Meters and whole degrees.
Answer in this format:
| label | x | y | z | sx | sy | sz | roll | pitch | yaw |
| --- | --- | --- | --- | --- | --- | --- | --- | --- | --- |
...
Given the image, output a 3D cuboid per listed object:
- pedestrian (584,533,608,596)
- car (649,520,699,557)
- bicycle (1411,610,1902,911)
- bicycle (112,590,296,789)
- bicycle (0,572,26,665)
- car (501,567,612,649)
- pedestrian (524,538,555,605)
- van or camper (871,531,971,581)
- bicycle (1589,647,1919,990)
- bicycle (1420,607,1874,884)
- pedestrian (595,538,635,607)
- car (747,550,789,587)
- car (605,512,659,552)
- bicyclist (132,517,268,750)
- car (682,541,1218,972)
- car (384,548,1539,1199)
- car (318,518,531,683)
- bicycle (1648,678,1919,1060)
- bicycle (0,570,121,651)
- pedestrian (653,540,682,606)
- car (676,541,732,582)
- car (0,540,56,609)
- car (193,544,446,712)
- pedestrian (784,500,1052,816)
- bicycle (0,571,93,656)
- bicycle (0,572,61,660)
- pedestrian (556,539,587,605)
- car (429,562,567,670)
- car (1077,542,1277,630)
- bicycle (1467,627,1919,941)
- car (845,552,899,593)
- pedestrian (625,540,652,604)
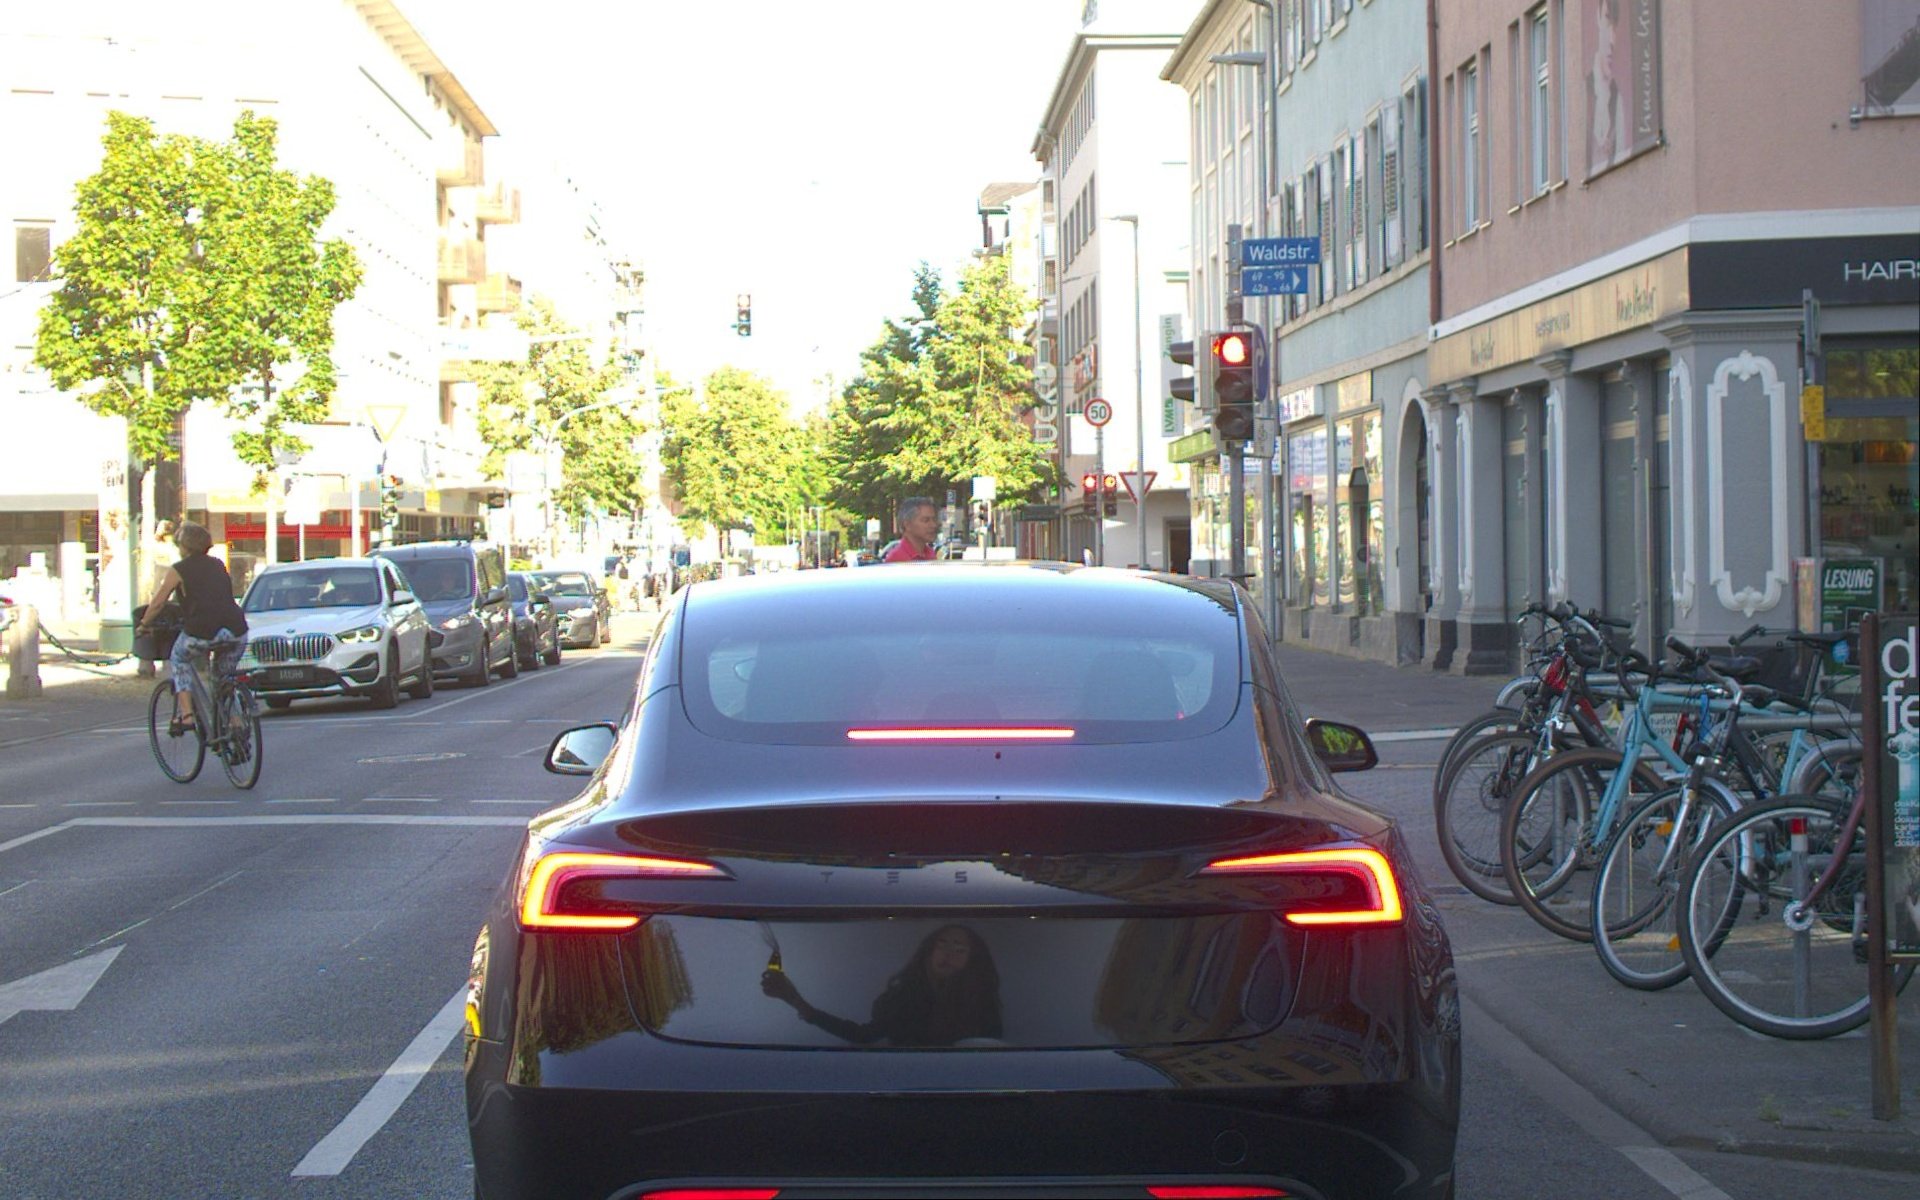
| label | x | y | z | sx | sy | sz | roll | pitch | yaw |
| --- | --- | --- | --- | --- | --- | --- | --- | --- | --- |
| pedestrian | -10.993 | -1.073 | 103.879 | 0.695 | 1.861 | 0.659 | 1 | 0 | -5 |
| car | -15.642 | -3.355 | 188.282 | 2.275 | 2.007 | 4.717 | 1 | 1 | 1 |
| bicycle | 2.731 | 0.620 | 13.602 | 1.813 | 1.148 | 0.653 | 0 | 1 | 1 |
| bicycle | -4.932 | 0.568 | 22.339 | 0.628 | 1.219 | 2.001 | -1 | 0 | -28 |
| bicycle | -14.486 | 0.237 | 47.547 | 2.875 | 1.266 | 0.943 | 1 | 0 | -3 |
| car | -7.188 | 0.119 | 61.506 | 1.693 | 1.385 | 3.916 | 1 | 1 | -3 |
| pedestrian | -11.858 | -0.810 | 96.926 | 0.732 | 1.861 | 0.791 | 1 | 0 | -17 |
| van or camper | -1.895 | -2.134 | 167.549 | 4.850 | 2.430 | 1.851 | 0 | 1 | -1 |
| bicycle | 2.999 | 0.692 | 11.122 | 1.813 | 1.056 | 0.653 | 0 | 1 | 1 |
| bicycle | 2.922 | 0.611 | 14.736 | 1.813 | 1.148 | 0.653 | 0 | 1 | 1 |
| pedestrian | -9.493 | -0.754 | 94.607 | 0.734 | 1.861 | 0.789 | 1 | 0 | 28 |
| car | -10.436 | -1.741 | 187.135 | 2.132 | 1.963 | 4.134 | 0 | 1 | -1 |
| car | -17.119 | -3.535 | 179.642 | 2.275 | 2.007 | 4.717 | 1 | 1 | 1 |
| bicyclist | -4.970 | 0.208 | 22.446 | 0.606 | 1.479 | 0.958 | 1 | 0 | -29 |
| car | -0.060 | 0.524 | 14.198 | 1.850 | 1.476 | 4.452 | 1 | 1 | -1 |
| car | -0.024 | 0.628 | 7.774 | 1.850 | 1.442 | 4.452 | 1 | 1 | -1 |
| car | -6.572 | -0.034 | 42.664 | 1.945 | 1.940 | 4.820 | 0 | 1 | -1 |
| bicycle | 3.025 | 0.759 | 10.050 | 1.882 | 1.040 | 0.653 | -1 | 1 | 1 |
| bicycle | -14.694 | 0.165 | 54.565 | 2.542 | 1.247 | 0.943 | 1 | 0 | -3 |
| pedestrian | -8.368 | -0.776 | 98.370 | 0.774 | 1.861 | 1.009 | 1 | 0 | -7 |
| car | -12.389 | -1.869 | 166.452 | 2.414 | 1.963 | 4.678 | 0 | 1 | -1 |
| car | -22.089 | -0.435 | 74.159 | 4.697 | 1.425 | 1.736 | -4 | 1 | -24 |
| car | -6.687 | 0.255 | 36.340 | 1.825 | 1.559 | 4.301 | -4 | 1 | -1 |
| pedestrian | -0.230 | 0.307 | 19.425 | 1.111 | 1.714 | 1.060 | 1 | 0 | 30 |
| bicycle | -14.533 | 0.192 | 52.141 | 2.542 | 1.247 | 0.943 | 1 | 0 | -3 |
| bicycle | -14.487 | 0.219 | 49.866 | 2.662 | 1.255 | 0.943 | 1 | 0 | -3 |
| pedestrian | -10.993 | -0.802 | 97.284 | 0.732 | 1.861 | 0.791 | 1 | 0 | -17 |
| car | -6.653 | 0.206 | 49.797 | 1.461 | 1.425 | 3.606 | -4 | 1 | -1 |
| car | 4.710 | -0.324 | 74.675 | 3.992 | 1.861 | 1.698 | 0 | 1 | -21 |
| bicycle | 2.800 | 0.656 | 12.528 | 1.813 | 1.098 | 0.653 | 0 | 1 | 1 |
| car | -3.874 | -1.223 | 151.545 | 2.035 | 1.782 | 4.006 | 0 | 1 | 4 |
| pedestrian | -9.505 | -0.825 | 101.649 | 0.694 | 1.861 | 0.910 | 1 | 0 | -12 |
